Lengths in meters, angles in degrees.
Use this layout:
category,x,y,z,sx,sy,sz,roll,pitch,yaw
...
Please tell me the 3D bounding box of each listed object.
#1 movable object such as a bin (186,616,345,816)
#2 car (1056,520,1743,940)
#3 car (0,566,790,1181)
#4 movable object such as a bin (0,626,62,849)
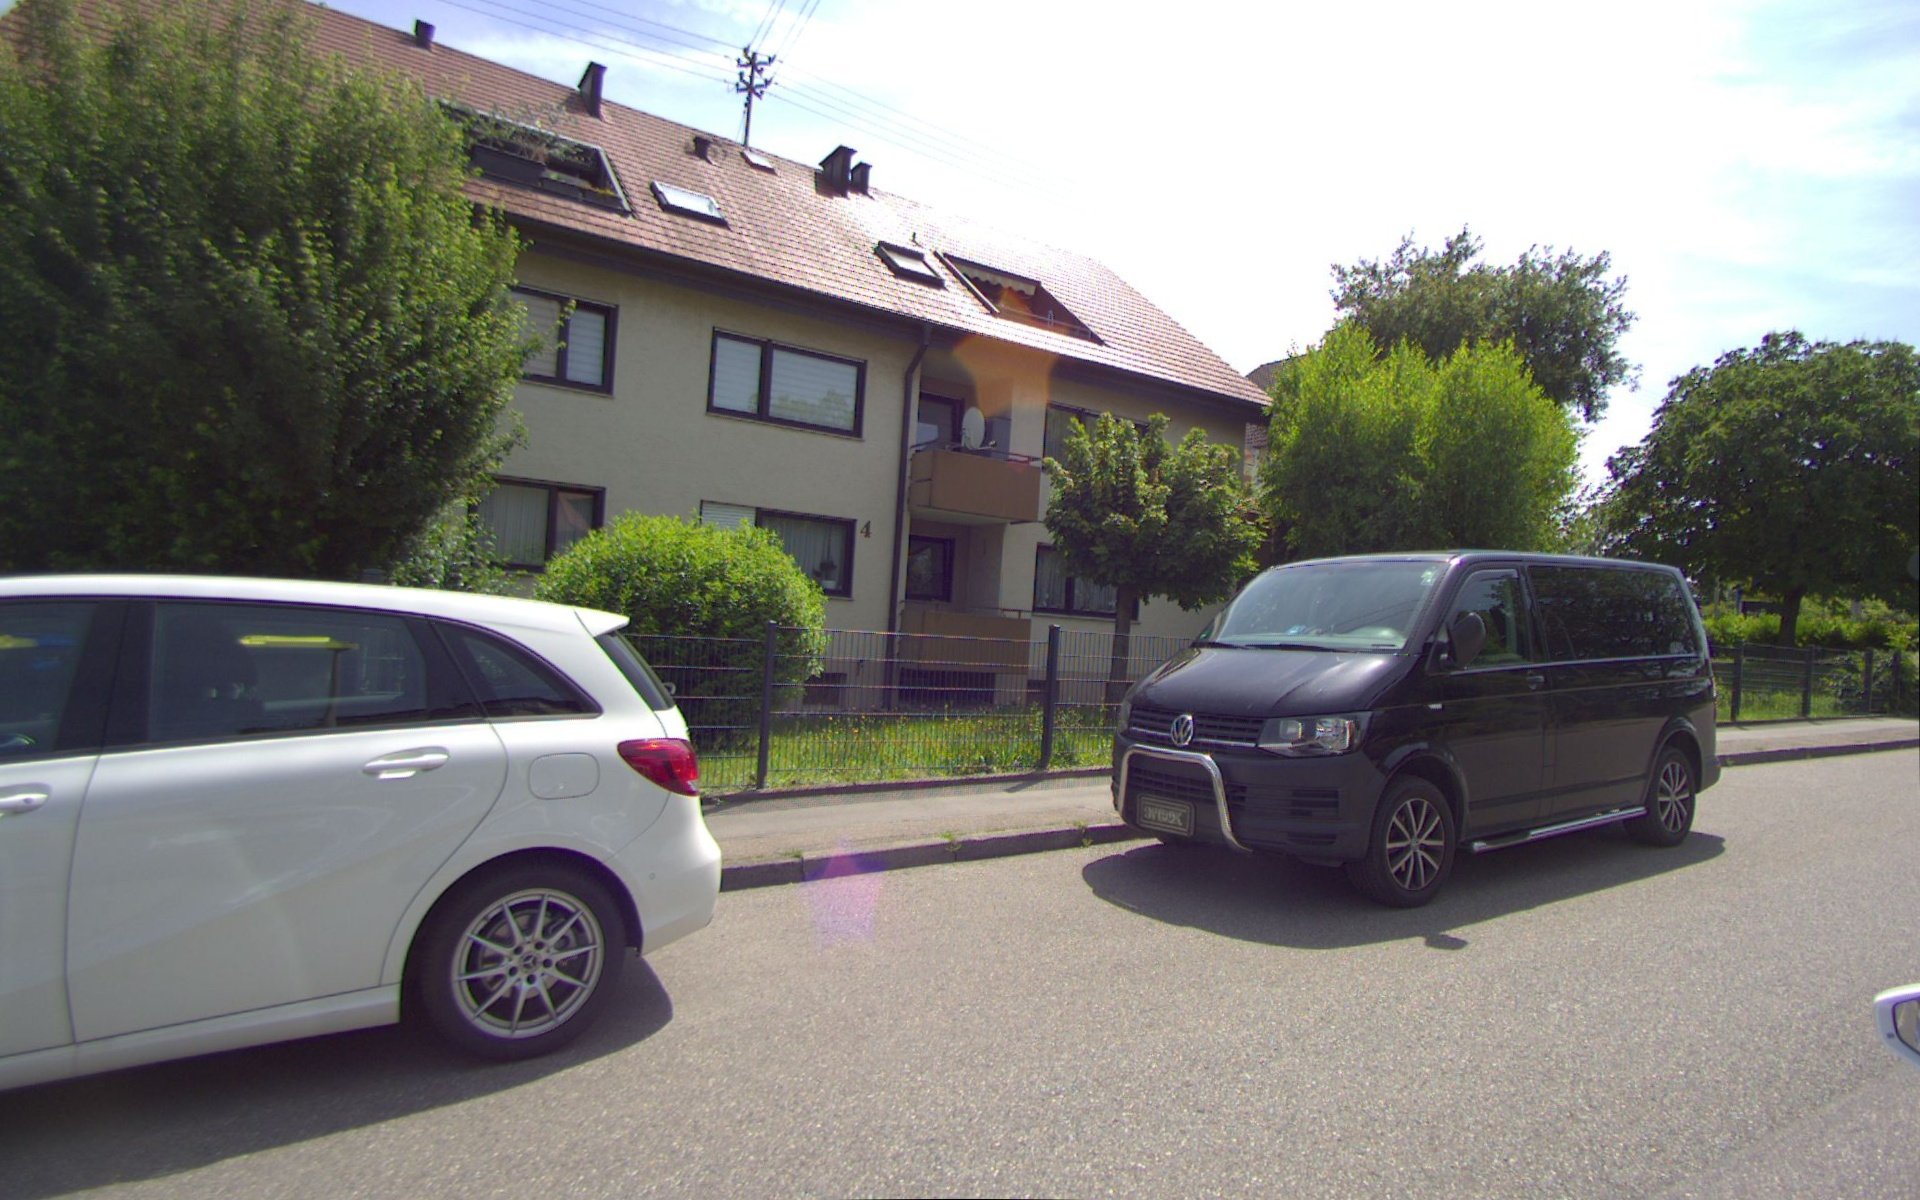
category,x,y,z,sx,sy,sz,roll,pitch,yaw
movable object such as a bin,-4.160,0.649,6.077,0.687,1.084,0.895,1,0,-29
car,3.122,0.664,6.758,4.817,1.945,1.886,1,-2,-32
car,-2.879,0.696,3.352,4.196,1.570,1.801,1,0,-32
movable object such as a bin,-5.176,0.691,5.151,0.701,1.119,0.495,2,-3,-29
